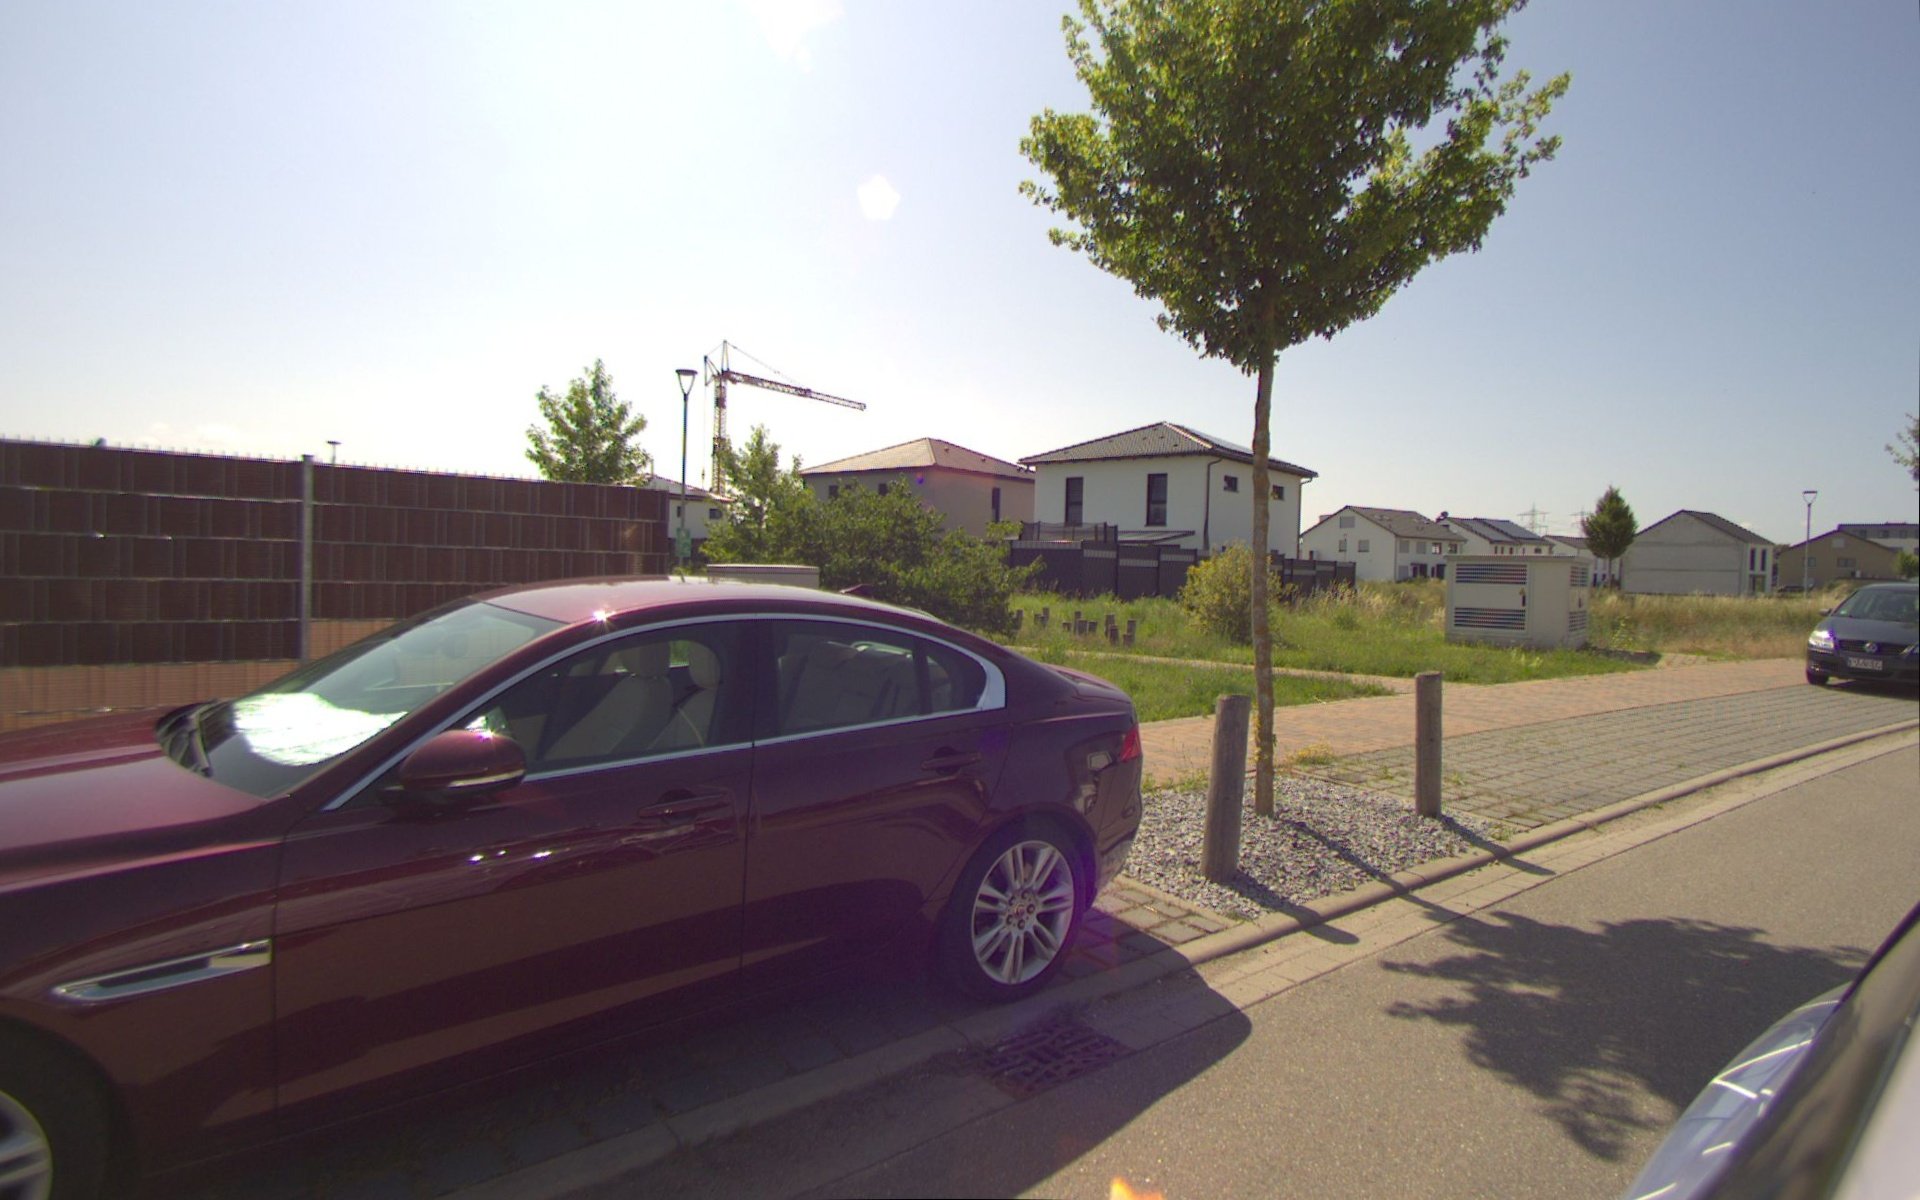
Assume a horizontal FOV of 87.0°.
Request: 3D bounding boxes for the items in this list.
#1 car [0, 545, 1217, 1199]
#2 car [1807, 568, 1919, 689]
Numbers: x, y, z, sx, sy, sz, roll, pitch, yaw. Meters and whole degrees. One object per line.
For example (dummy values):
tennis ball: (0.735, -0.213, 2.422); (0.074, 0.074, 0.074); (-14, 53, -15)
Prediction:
car: (-1.280, 0.556, 3.336); (4.493, 1.380, 1.759); (0, 3, -39)
car: (13.597, 0.364, 14.299); (3.606, 1.492, 1.604); (0, 4, -36)
